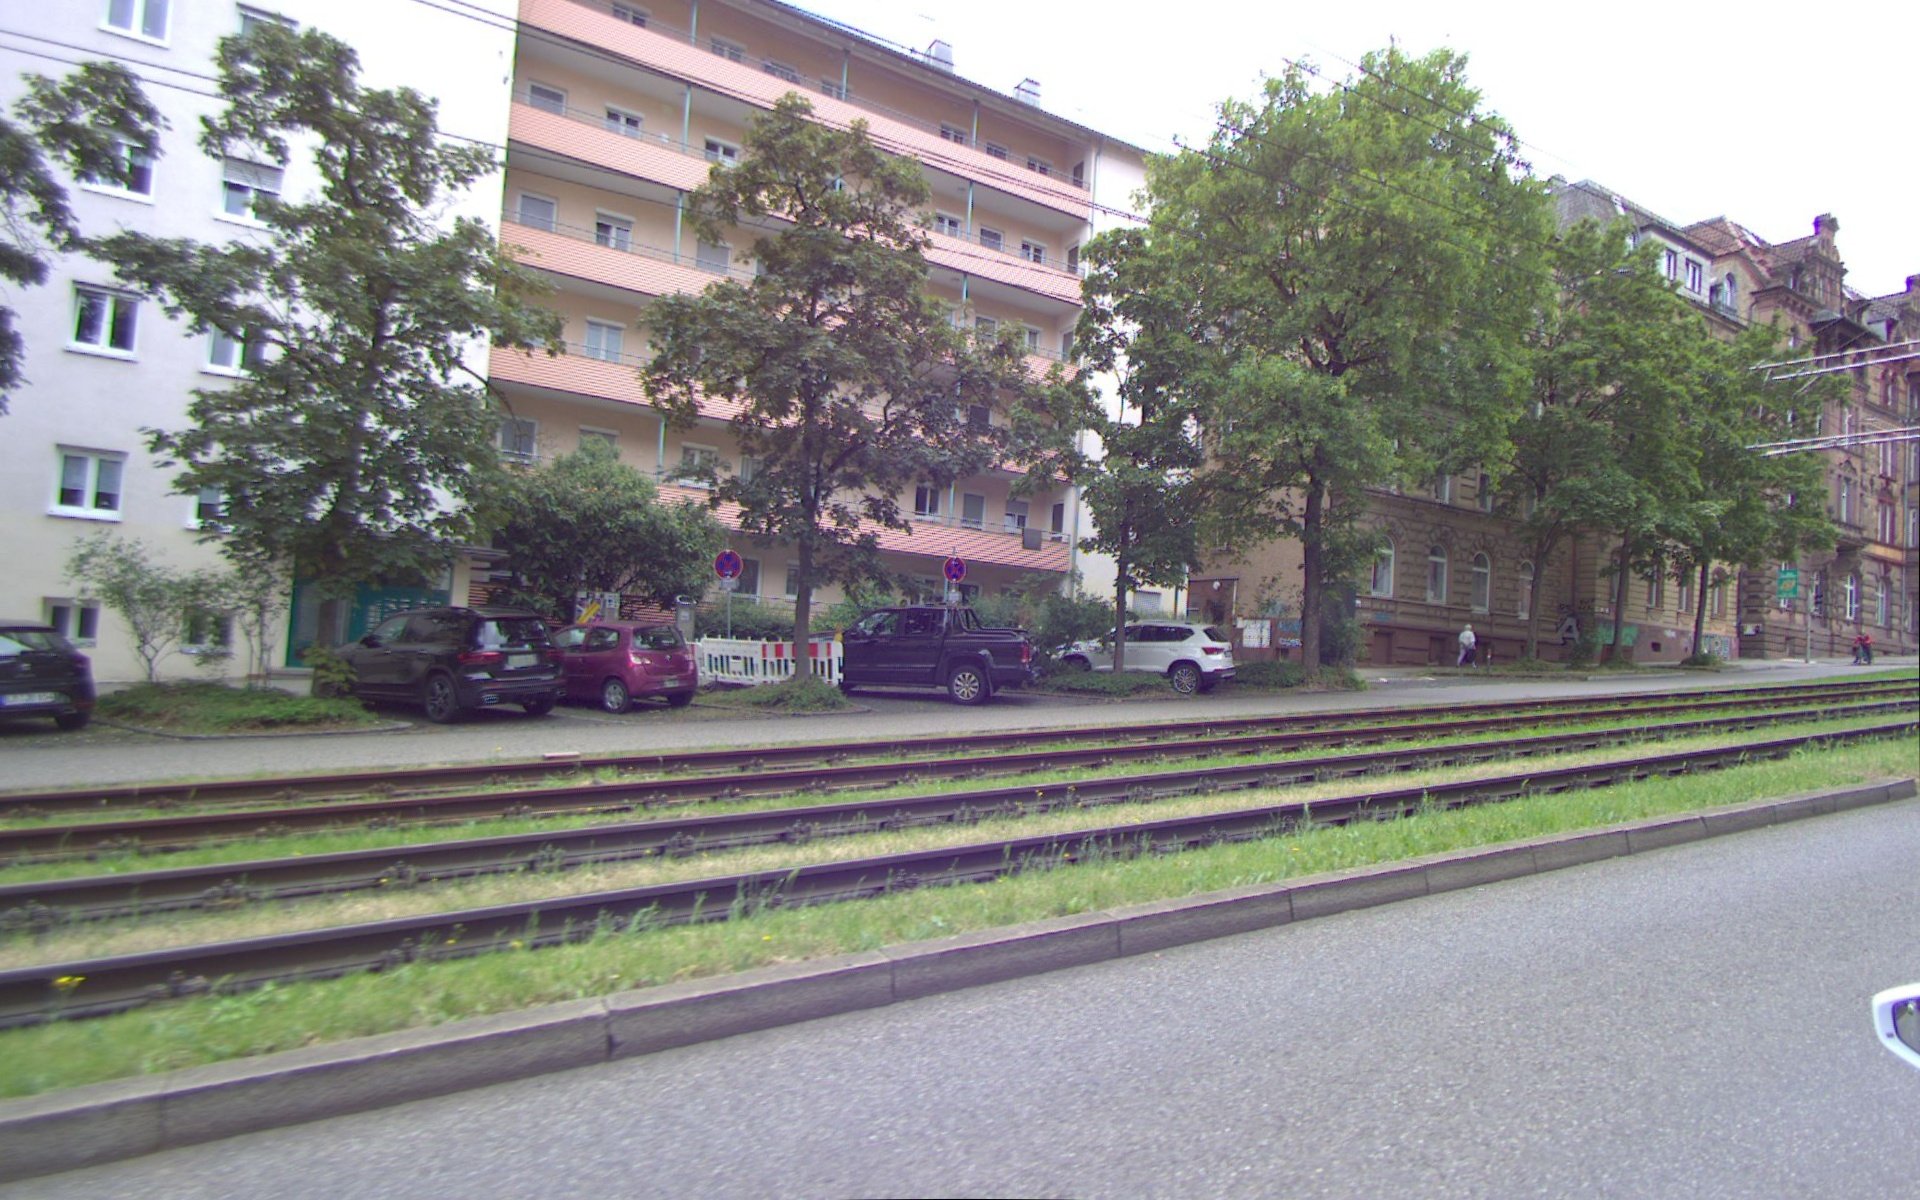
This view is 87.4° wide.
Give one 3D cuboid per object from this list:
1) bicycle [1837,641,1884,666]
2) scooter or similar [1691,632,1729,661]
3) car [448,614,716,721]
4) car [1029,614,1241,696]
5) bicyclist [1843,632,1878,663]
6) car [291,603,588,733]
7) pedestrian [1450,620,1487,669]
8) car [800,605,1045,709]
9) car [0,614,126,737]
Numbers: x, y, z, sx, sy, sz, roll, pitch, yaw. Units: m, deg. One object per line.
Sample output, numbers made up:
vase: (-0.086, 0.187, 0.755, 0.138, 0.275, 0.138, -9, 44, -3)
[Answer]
bicycle: (43.305, 2.560, 48.305, 2.671, 1.114, 0.934, 1, -1, -30)
scooter or similar: (33.791, 2.094, 45.258, 2.191, 1.271, 0.625, 1, -1, -32)
car: (-6.726, 1.095, 17.811, 4.523, 1.569, 1.933, 1, 0, 28)
car: (4.084, 1.216, 23.576, 4.522, 1.639, 1.934, 1, 0, 27)
bicyclist: (43.339, 2.260, 48.338, 1.174, 1.444, 0.934, 1, -1, -30)
car: (-8.283, 0.957, 15.924, 4.523, 1.704, 1.933, 1, 0, 28)
pedestrian: (17.979, 1.557, 35.525, 0.839, 1.706, 0.827, 1, -2, -31)
car: (-0.704, 1.061, 20.084, 4.514, 1.821, 1.937, 1, 0, 14)
car: (-13.380, 0.915, 13.368, 4.523, 1.362, 1.933, 1, 0, 28)
